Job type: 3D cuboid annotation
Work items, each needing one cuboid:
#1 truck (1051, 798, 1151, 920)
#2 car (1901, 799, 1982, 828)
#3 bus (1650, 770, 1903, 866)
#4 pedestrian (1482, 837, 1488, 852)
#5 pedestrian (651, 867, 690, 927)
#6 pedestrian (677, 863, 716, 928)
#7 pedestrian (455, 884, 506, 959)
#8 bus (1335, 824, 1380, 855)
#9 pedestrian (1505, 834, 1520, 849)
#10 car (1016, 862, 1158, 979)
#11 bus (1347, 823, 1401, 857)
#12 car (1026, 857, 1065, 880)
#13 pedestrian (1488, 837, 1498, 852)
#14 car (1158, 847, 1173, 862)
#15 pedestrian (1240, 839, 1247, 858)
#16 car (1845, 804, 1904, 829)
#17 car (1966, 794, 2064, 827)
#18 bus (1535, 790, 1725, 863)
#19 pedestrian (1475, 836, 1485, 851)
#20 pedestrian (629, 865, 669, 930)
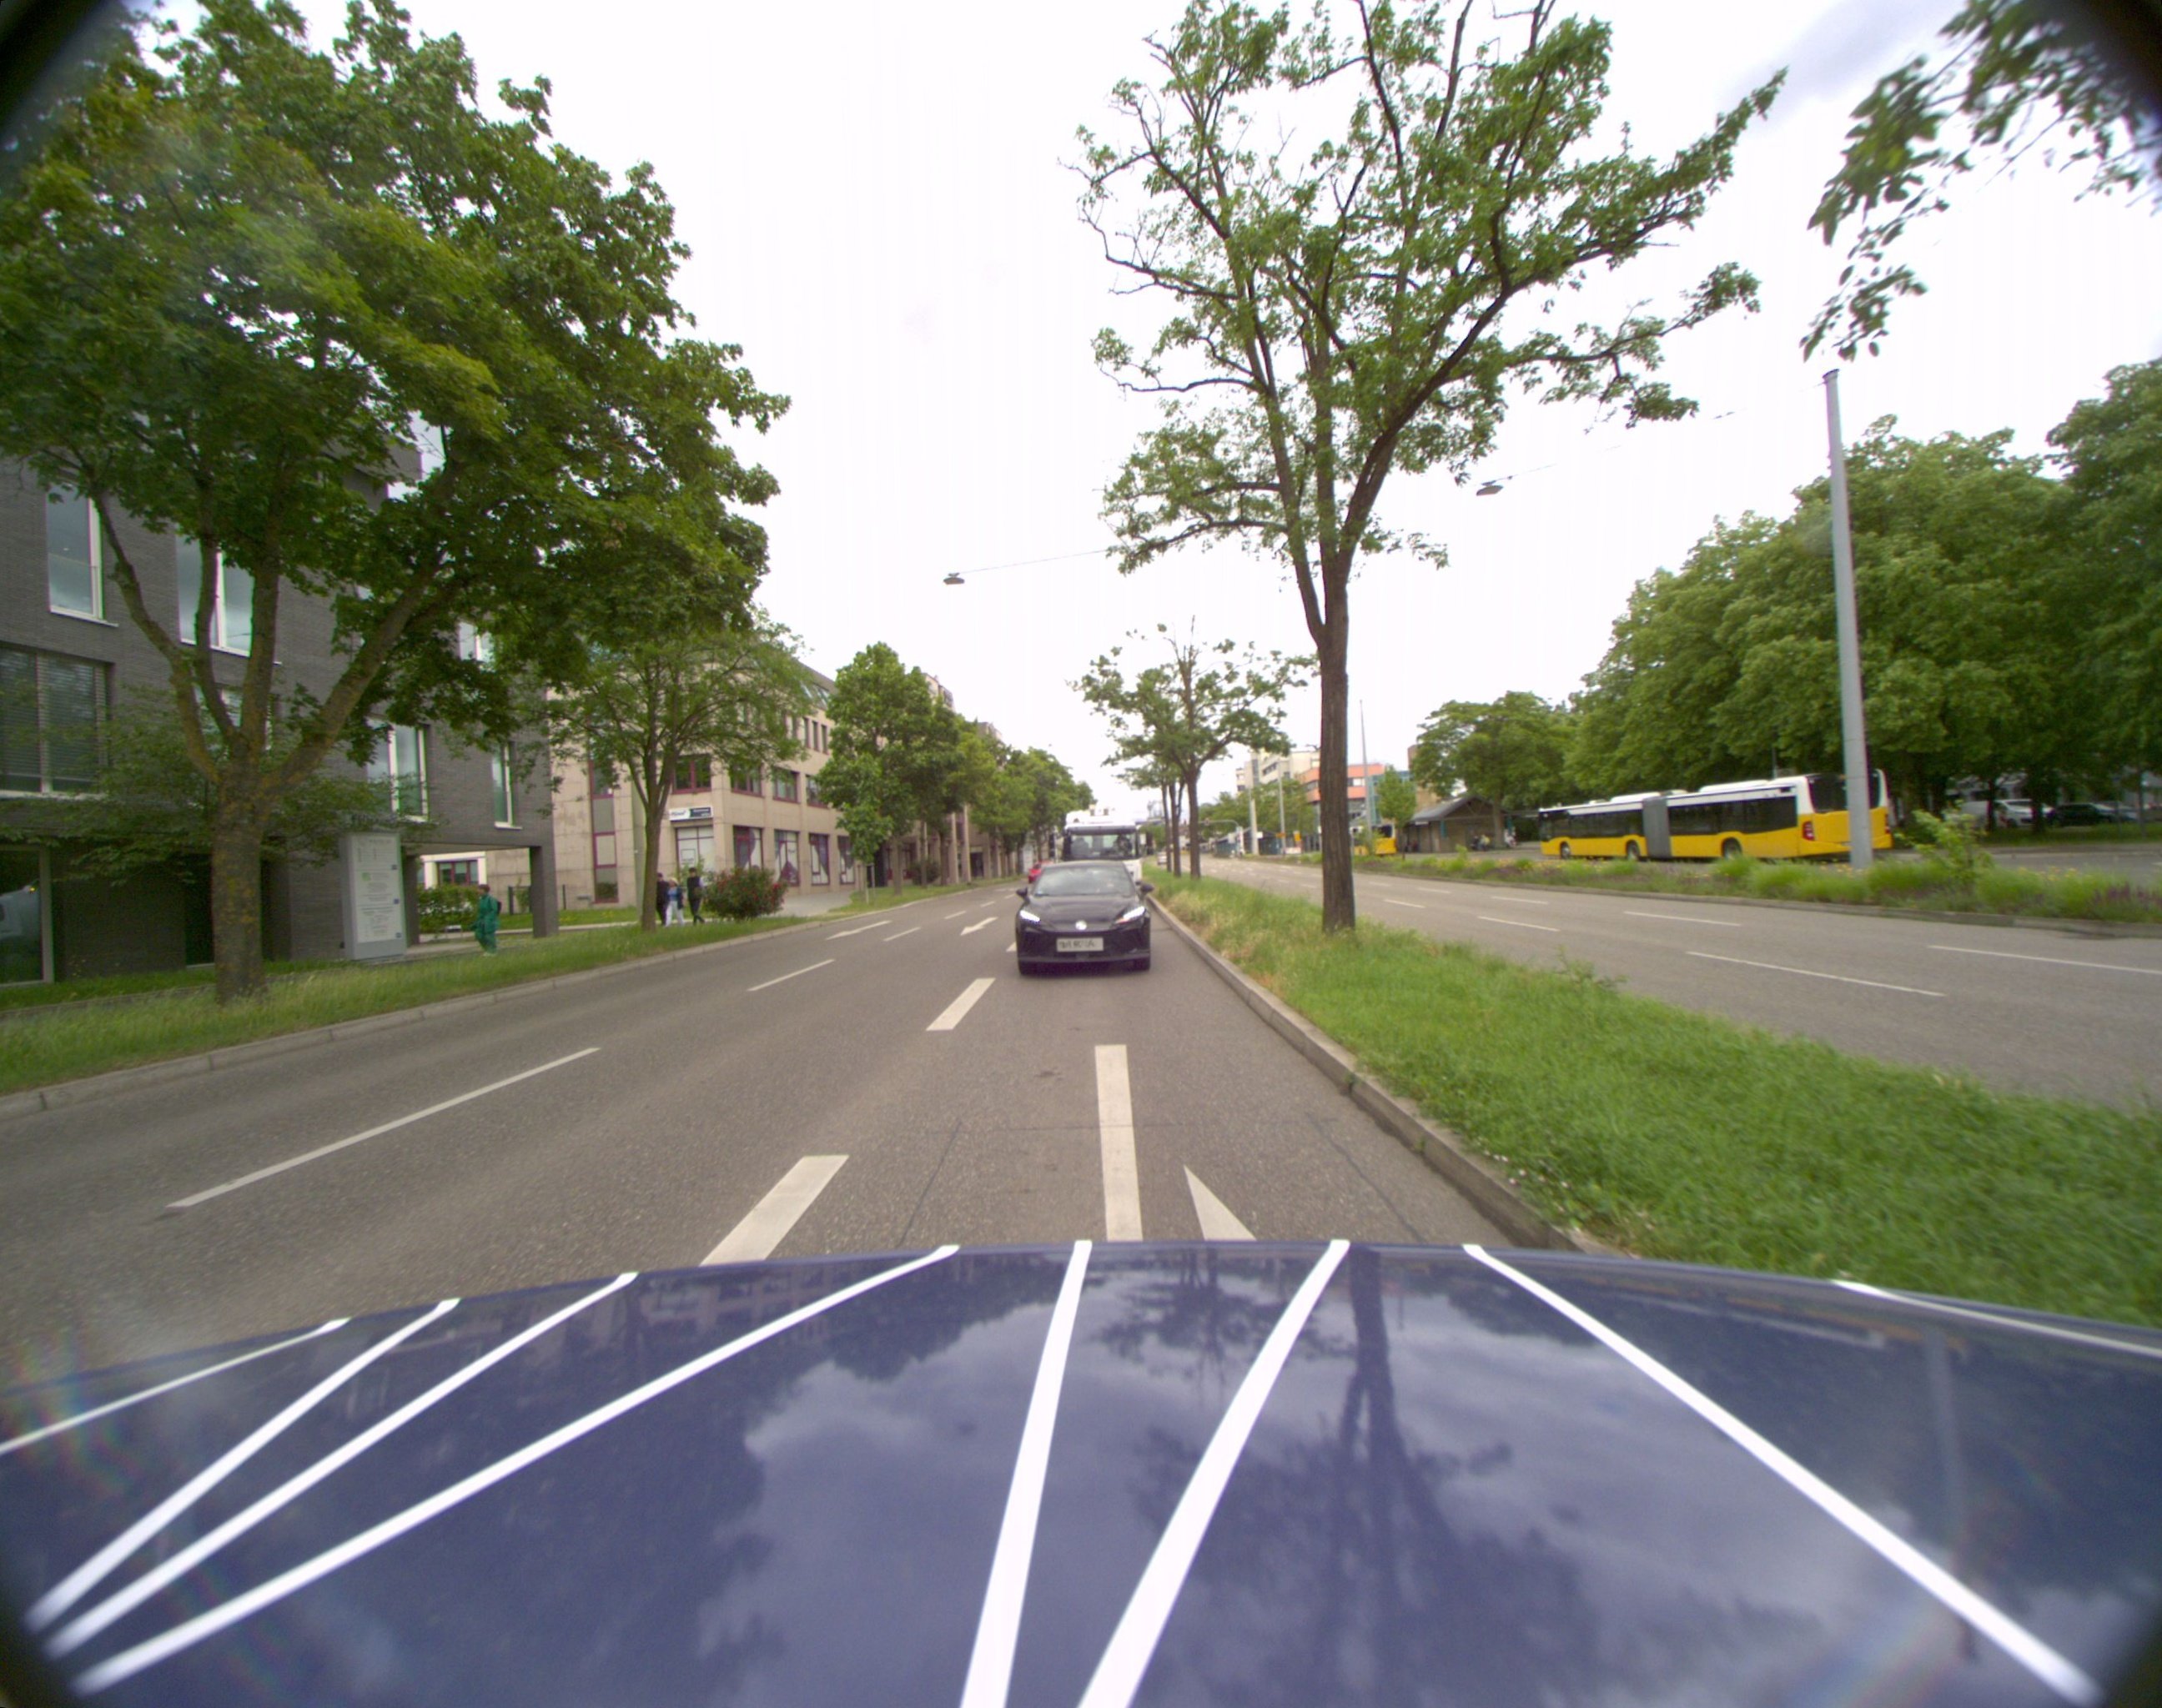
[{"bbox_3d":[0.658,0.144,24.300,2.544,3.187,7.369,-3,0,2],"label":"truck"},{"bbox_3d":[58.426,-2.714,51.710,1.688,1.740,4.004,-3,0,15],"label":"car"},{"bbox_3d":[25.564,-1.186,28.655,2.888,2.985,7.886,-3,0,7],"label":"bus"},{"bbox_3d":[31.520,-0.747,59.285,0.367,1.160,0.899,-2,1,28],"label":"pedestrian"},{"bbox_3d":[-11.713,1.219,21.713,0.642,1.637,0.677,-3,0,2],"label":"pedestrian"},{"bbox_3d":[-10.992,1.175,21.730,0.642,1.794,0.677,-3,0,2],"label":"pedestrian"},{"bbox_3d":[-12.537,1.400,15.879,0.496,1.510,0.677,0,1,2],"label":"pedestrian"},{"bbox_3d":[29.129,-1.461,80.417,2.887,2.985,9.183,-3,0,11],"label":"bus"},{"bbox_3d":[33.155,-0.955,58.383,0.650,1.165,0.925,-2,1,2],"label":"pedestrian"},{"bbox_3d":[0.149,0.920,12.146,1.826,1.430,4.000,-3,0,2],"label":"car"},{"bbox_3d":[27.481,-1.259,71.664,2.887,2.793,9.182,-3,0,10],"label":"bus"},{"bbox_3d":[-2.476,1.036,53.946,1.997,1.455,4.002,-3,0,8],"label":"car"},{"bbox_3d":[32.039,-0.737,59.094,0.598,1.155,0.744,-2,1,28],"label":"pedestrian"},{"bbox_3d":[11.466,0.064,103.383,1.726,2.002,4.001,-3,0,4],"label":"car"},{"bbox_3d":[23.726,-0.842,110.956,0.903,2.772,1.148,-2,1,14],"label":"pedestrian"},{"bbox_3d":[60.064,-2.814,57.583,1.688,1.740,3.097,-3,0,15],"label":"car"},{"bbox_3d":[56.437,-2.578,46.015,1.688,1.740,4.004,-3,0,15],"label":"car"},{"bbox_3d":[26.627,-1.210,37.767,2.888,2.985,10.398,-3,0,7],"label":"bus"},{"bbox_3d":[32.123,-0.841,61.148,0.598,1.155,0.744,-2,1,24],"label":"pedestrian"},{"bbox_3d":[-12.440,1.236,21.904,0.642,1.794,0.677,-3,0,2],"label":"pedestrian"}]
